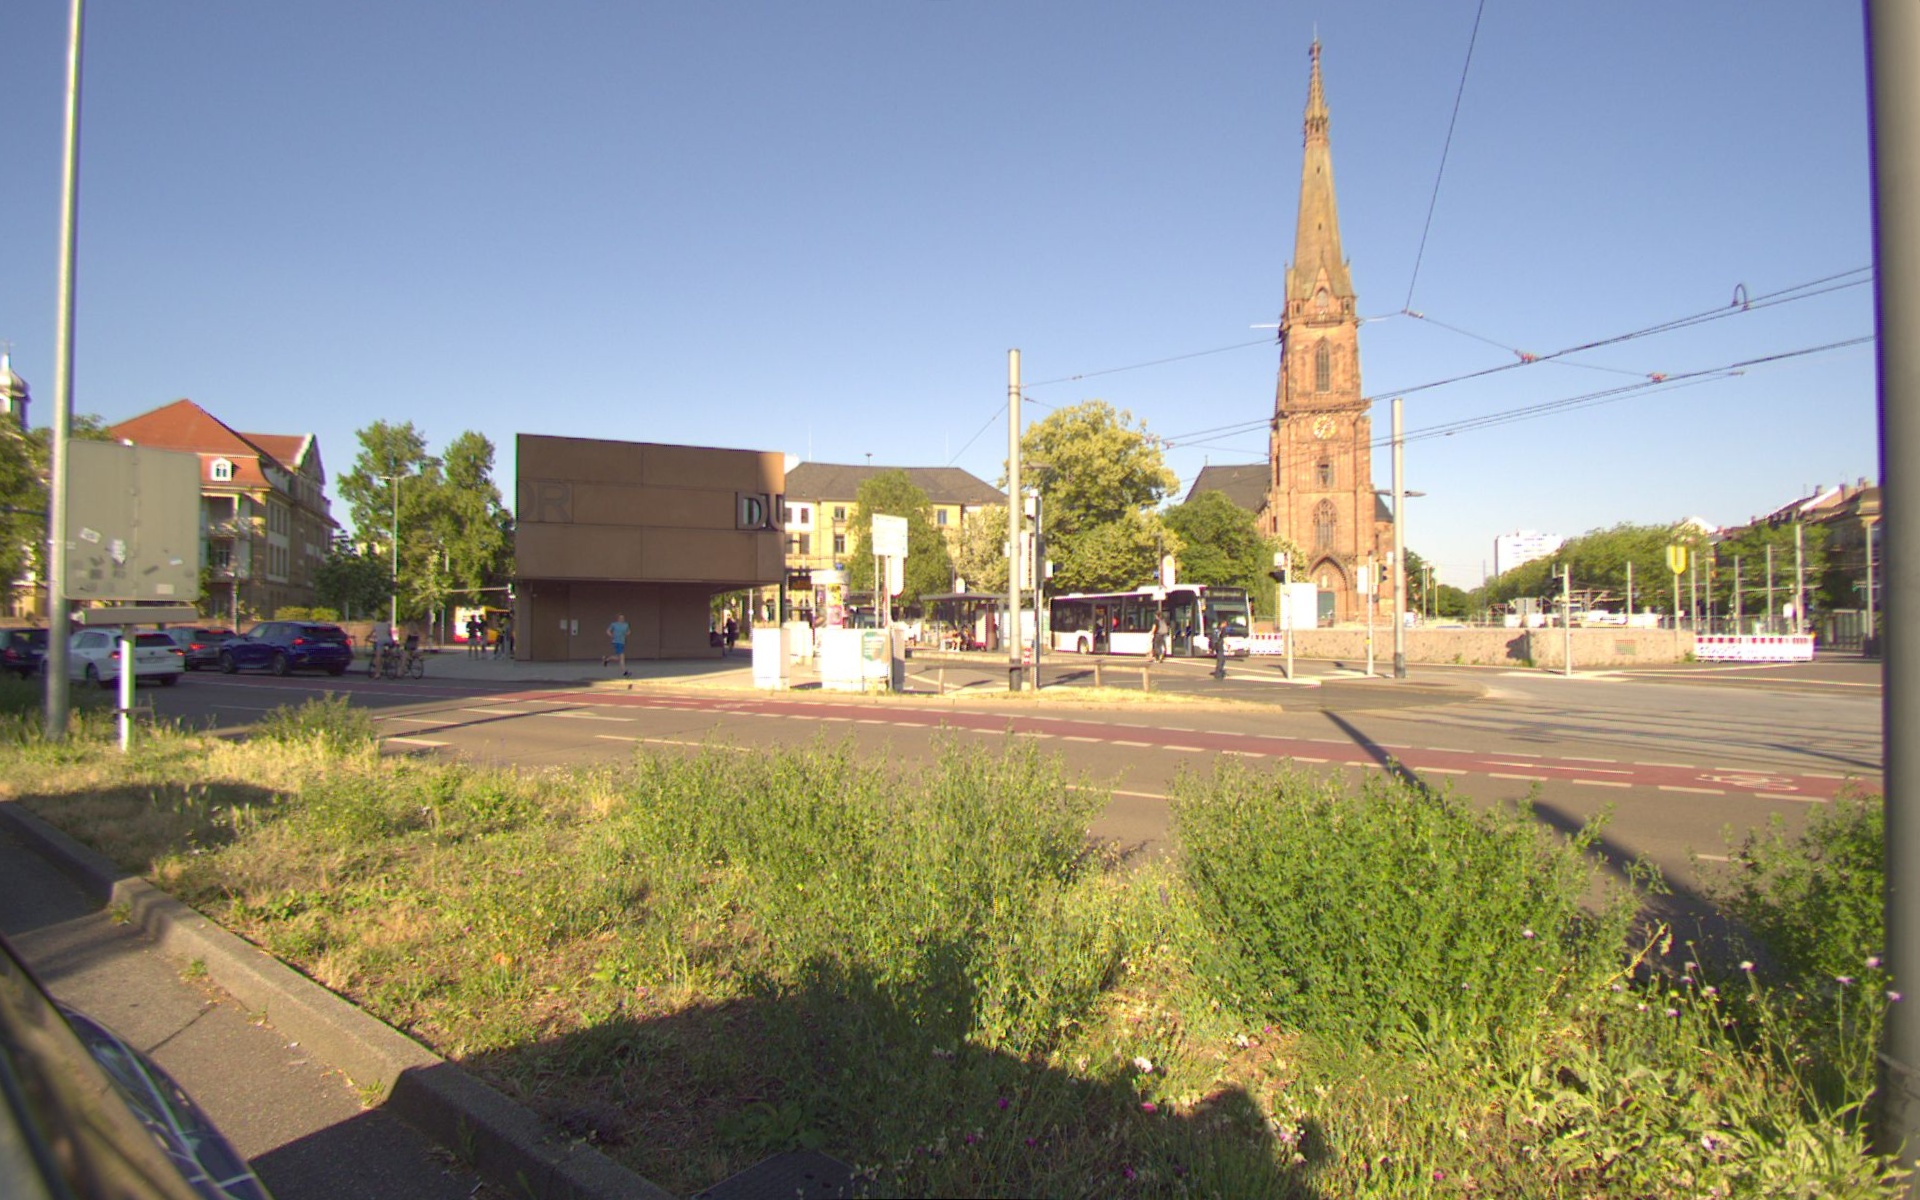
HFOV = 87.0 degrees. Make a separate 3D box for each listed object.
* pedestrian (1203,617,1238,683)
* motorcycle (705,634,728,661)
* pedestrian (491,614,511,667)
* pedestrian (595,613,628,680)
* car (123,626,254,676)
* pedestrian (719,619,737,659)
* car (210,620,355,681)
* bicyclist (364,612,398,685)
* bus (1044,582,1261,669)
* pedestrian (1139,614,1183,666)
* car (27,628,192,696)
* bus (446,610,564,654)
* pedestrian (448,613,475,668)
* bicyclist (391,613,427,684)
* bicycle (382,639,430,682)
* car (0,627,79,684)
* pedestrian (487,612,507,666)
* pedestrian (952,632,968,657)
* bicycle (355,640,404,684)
[{"bbox_3d":[7.158,1.358,27.831,0.702,1.771,0.584,-1,0,-30],"label":"pedestrian"},{"bbox_3d":[-10.123,1.966,42.074,0.935,1.075,0.331,-1,0,-11],"label":"motorcycle"},{"bbox_3d":[-18.010,1.580,39.697,0.645,2.029,0.470,-1,0,-29],"label":"pedestrian"},{"bbox_3d":[-10.105,1.352,29.363,0.787,1.911,0.612,0,-2,-9],"label":"pedestrian"},{"bbox_3d":[-25.220,1.649,33.063,4.375,1.503,1.831,-1,-4,30],"label":"car"},{"bbox_3d":[-11.826,1.974,51.666,0.762,2.029,0.778,-1,0,-2],"label":"pedestrian"},{"bbox_3d":[-20.152,1.467,30.074,4.166,1.703,1.741,-1,-1,26],"label":"car"},{"bbox_3d":[-16.333,1.352,28.566,0.562,2.029,0.605,-1,-2,25],"label":"bicyclist"},{"bbox_3d":[7.677,0.970,43.195,2.655,3.174,12.216,-1,0,-23],"label":"bus"},{"bbox_3d":[6.762,1.320,34.045,1.025,1.696,1.007,-1,0,-25],"label":"pedestrian"},{"bbox_3d":[-21.446,1.493,25.494,4.375,1.503,1.831,-1,0,30],"label":"car"},{"bbox_3d":[-37.401,2.527,83.904,3.049,3.236,12.521,-1,0,6],"label":"bus"},{"bbox_3d":[-18.849,1.514,38.286,0.765,2.029,0.775,-1,0,-37],"label":"pedestrian"},{"bbox_3d":[-15.861,1.383,29.140,0.705,2.029,0.605,-1,-2,25],"label":"bicyclist"},{"bbox_3d":[-15.991,1.739,29.210,1.388,1.201,0.461,-1,0,24],"label":"bicycle"},{"bbox_3d":[-26.931,1.520,28.565,4.169,1.471,1.740,-1,0,28],"label":"car"},{"bbox_3d":[-17.736,1.498,38.795,0.645,2.029,0.470,-1,0,-29],"label":"pedestrian"},{"bbox_3d":[0.000,2.196,50.003,0.531,1.196,0.660,-1,0,-21],"label":"pedestrian"},{"bbox_3d":[-16.386,1.744,28.568,1.388,1.201,0.461,-1,0,24],"label":"bicycle"}]
